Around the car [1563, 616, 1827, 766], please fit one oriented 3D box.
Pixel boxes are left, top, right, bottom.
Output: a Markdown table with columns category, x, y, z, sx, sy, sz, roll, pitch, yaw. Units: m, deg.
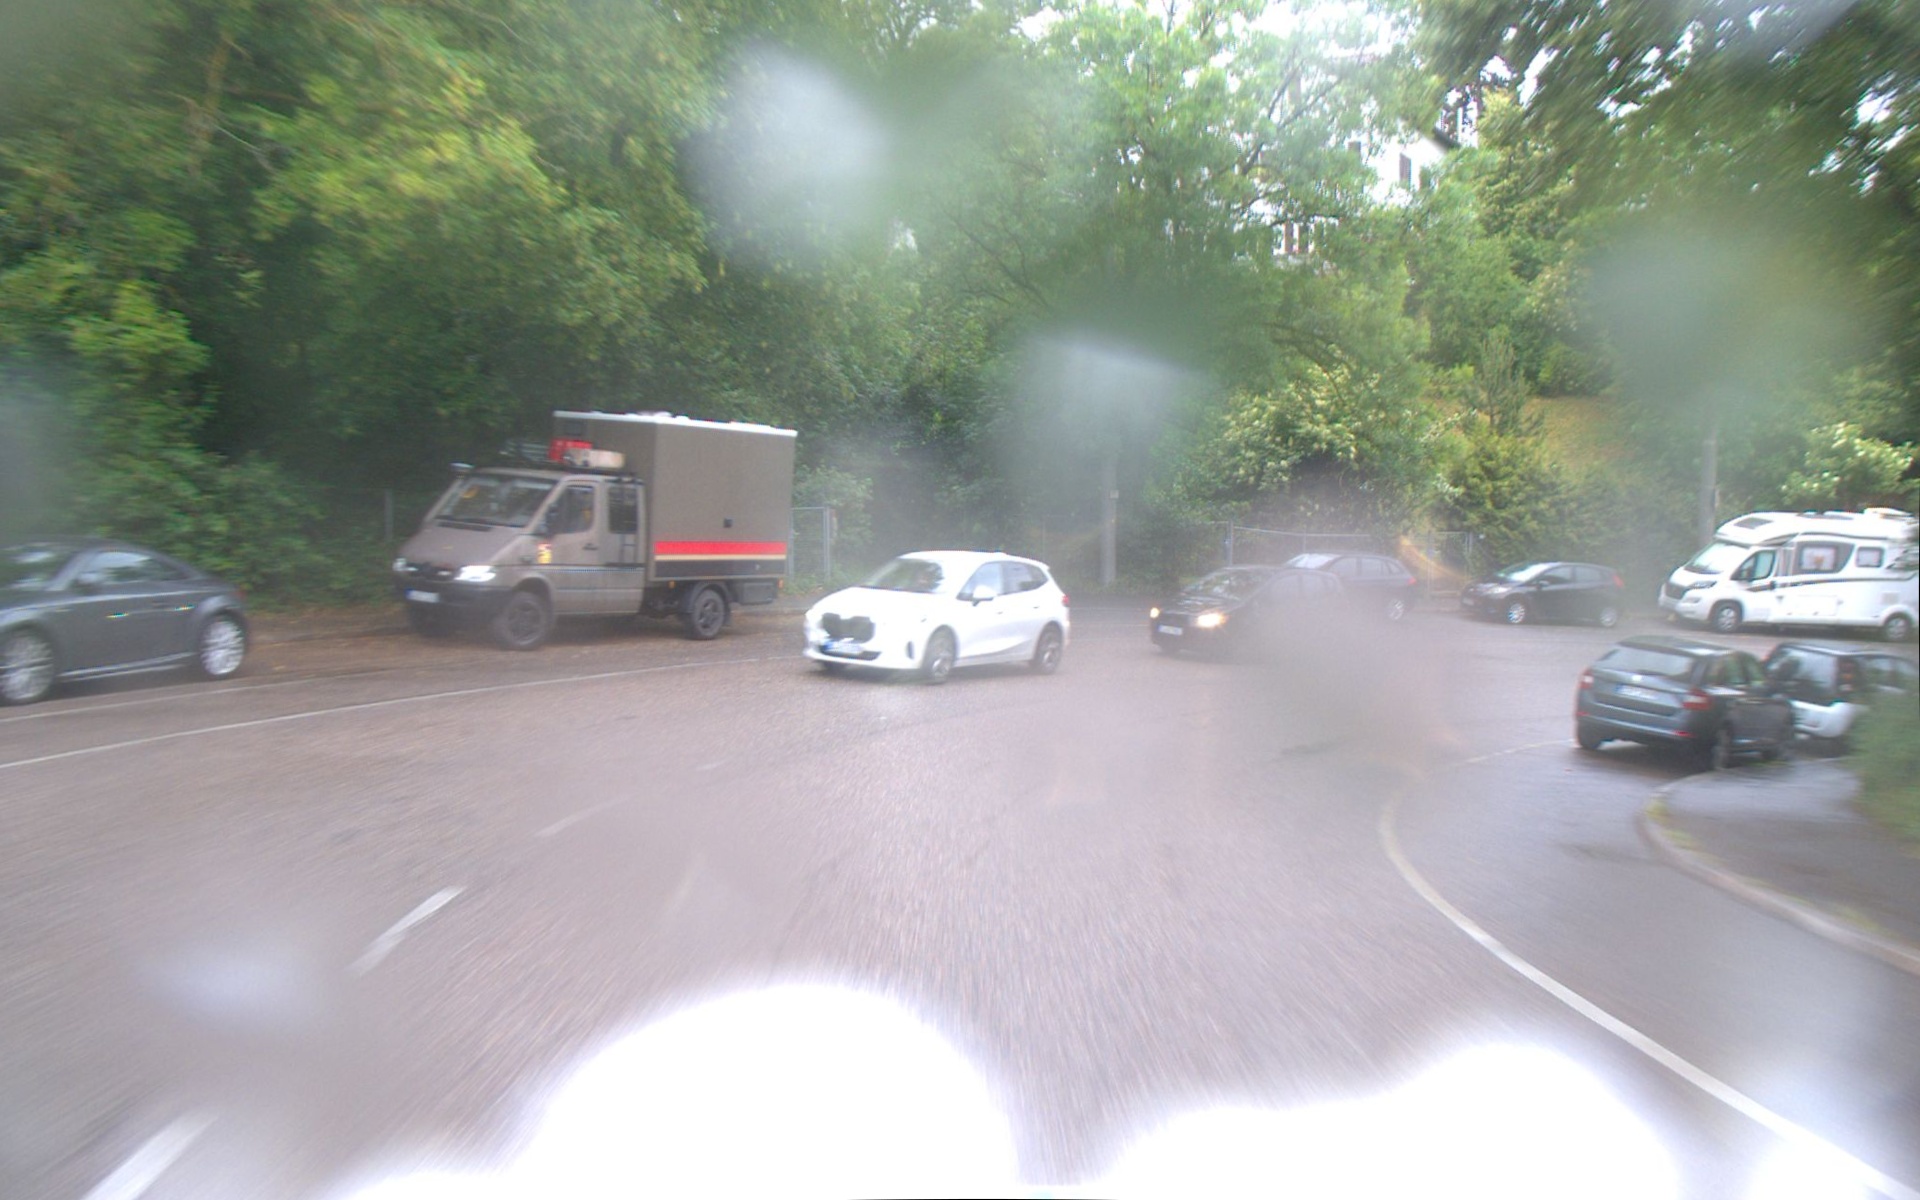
| category | x | y | z | sx | sy | sz | roll | pitch | yaw |
| --- | --- | --- | --- | --- | --- | --- | --- | --- | --- |
| car | 9.240 | 1.067 | 20.641 | 1.628 | 1.489 | 4.005 | 10 | 6 | 43 |

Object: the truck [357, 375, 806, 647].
| category | x | y | z | sx | sy | sz | roll | pitch | yaw |
| --- | --- | --- | --- | --- | --- | --- | --- | --- | --- |
| truck | -4.910 | -1.143 | 22.811 | 1.996 | 3.155 | 6.603 | 6 | 3 | 29 |

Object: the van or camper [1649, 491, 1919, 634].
| category | x | y | z | sx | sy | sz | roll | pitch | yaw |
| --- | --- | --- | --- | --- | --- | --- | --- | --- | --- |
| van or camper | 20.846 | -0.892 | 39.798 | 7.484 | 2.981 | 2.202 | 2 | 6 | -3 |

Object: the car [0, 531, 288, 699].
| category | x | y | z | sx | sy | sz | roll | pitch | yaw |
| --- | --- | --- | --- | --- | --- | --- | --- | --- | --- |
| car | -8.144 | 0.050 | 15.013 | 1.663 | 1.297 | 4.251 | 2 | 3 | 12 |

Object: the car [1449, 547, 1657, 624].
| category | x | y | z | sx | sy | sz | roll | pitch | yaw |
| --- | --- | --- | --- | --- | --- | --- | --- | --- | --- |
| car | 13.855 | -0.345 | 38.703 | 4.224 | 1.378 | 1.756 | 3 | 6 | -13 |

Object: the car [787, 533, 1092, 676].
| category | x | y | z | sx | sy | sz | roll | pitch | yaw |
| --- | --- | --- | --- | --- | --- | --- | --- | --- | --- |
| car | -0.149 | 0.032 | 21.719 | 1.767 | 1.597 | 4.442 | 4 | 2 | 33 |

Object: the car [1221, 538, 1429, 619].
| category | x | y | z | sx | sy | sz | roll | pitch | yaw |
| --- | --- | --- | --- | --- | --- | --- | --- | --- | --- |
| car | 8.030 | -0.468 | 36.362 | 4.249 | 1.489 | 1.770 | 1 | 6 | -28 |

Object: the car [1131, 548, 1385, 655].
| category | x | y | z | sx | sy | sz | roll | pitch | yaw |
| --- | --- | --- | --- | --- | --- | --- | --- | --- | --- |
| car | 4.983 | 0.038 | 27.500 | 4.037 | 1.544 | 1.746 | 2 | 4 | -35 |

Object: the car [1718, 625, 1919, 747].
| category | x | y | z | sx | sy | sz | roll | pitch | yaw |
| --- | --- | --- | --- | --- | --- | --- | --- | --- | --- |
| car | 12.921 | 1.217 | 23.908 | 3.678 | 1.431 | 1.675 | 2 | 6 | -31 |
